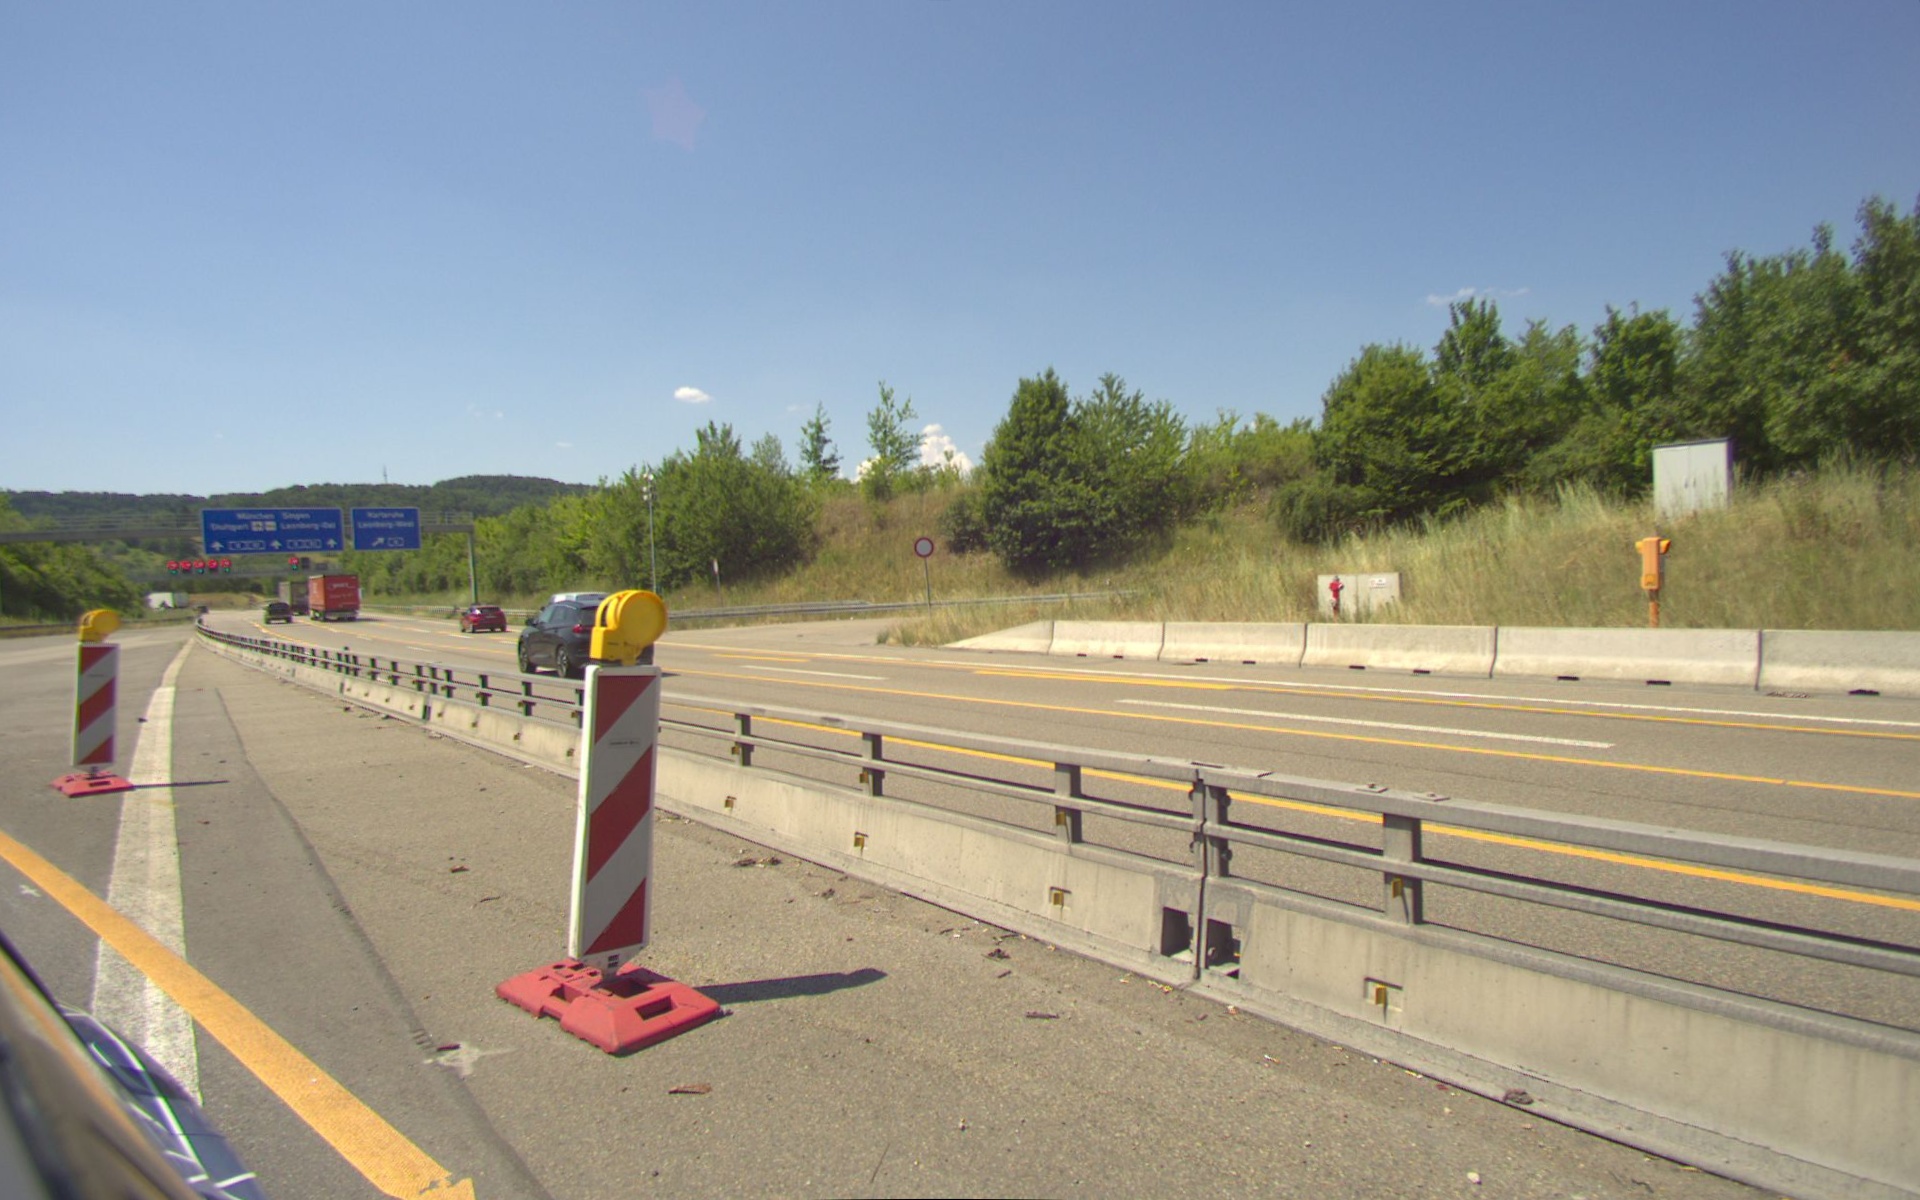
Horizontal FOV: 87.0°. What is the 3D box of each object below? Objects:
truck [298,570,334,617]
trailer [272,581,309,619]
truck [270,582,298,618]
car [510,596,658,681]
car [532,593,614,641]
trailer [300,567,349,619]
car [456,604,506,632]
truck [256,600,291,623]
[{"bbox_3d":[-59.987,-0.592,94.250,2.304,4.138,5.028,-3,2,-37],"label":"truck"},{"bbox_3d":[-82.137,-0.021,124.030,2.405,4.328,13.835,-3,2,-39],"label":"trailer"},{"bbox_3d":[-86.324,-0.011,129.170,2.401,4.301,4.848,-3,2,-39],"label":"truck"},{"bbox_3d":[-8.084,0.748,21.519,1.720,1.605,4.236,-1,0,-38],"label":"car"},{"bbox_3d":[-15.791,0.642,41.157,1.666,1.848,4.796,0,0,-40],"label":"car"},{"bbox_3d":[-55.763,-0.589,88.675,2.307,4.132,13.290,-3,2,-37],"label":"trailer"},{"bbox_3d":[-25.797,0.937,54.405,1.665,1.405,4.009,0,0,-37],"label":"car"},{"bbox_3d":[-59.459,1.011,87.574,1.969,1.887,4.769,-3,1,-40],"label":"truck"}]
